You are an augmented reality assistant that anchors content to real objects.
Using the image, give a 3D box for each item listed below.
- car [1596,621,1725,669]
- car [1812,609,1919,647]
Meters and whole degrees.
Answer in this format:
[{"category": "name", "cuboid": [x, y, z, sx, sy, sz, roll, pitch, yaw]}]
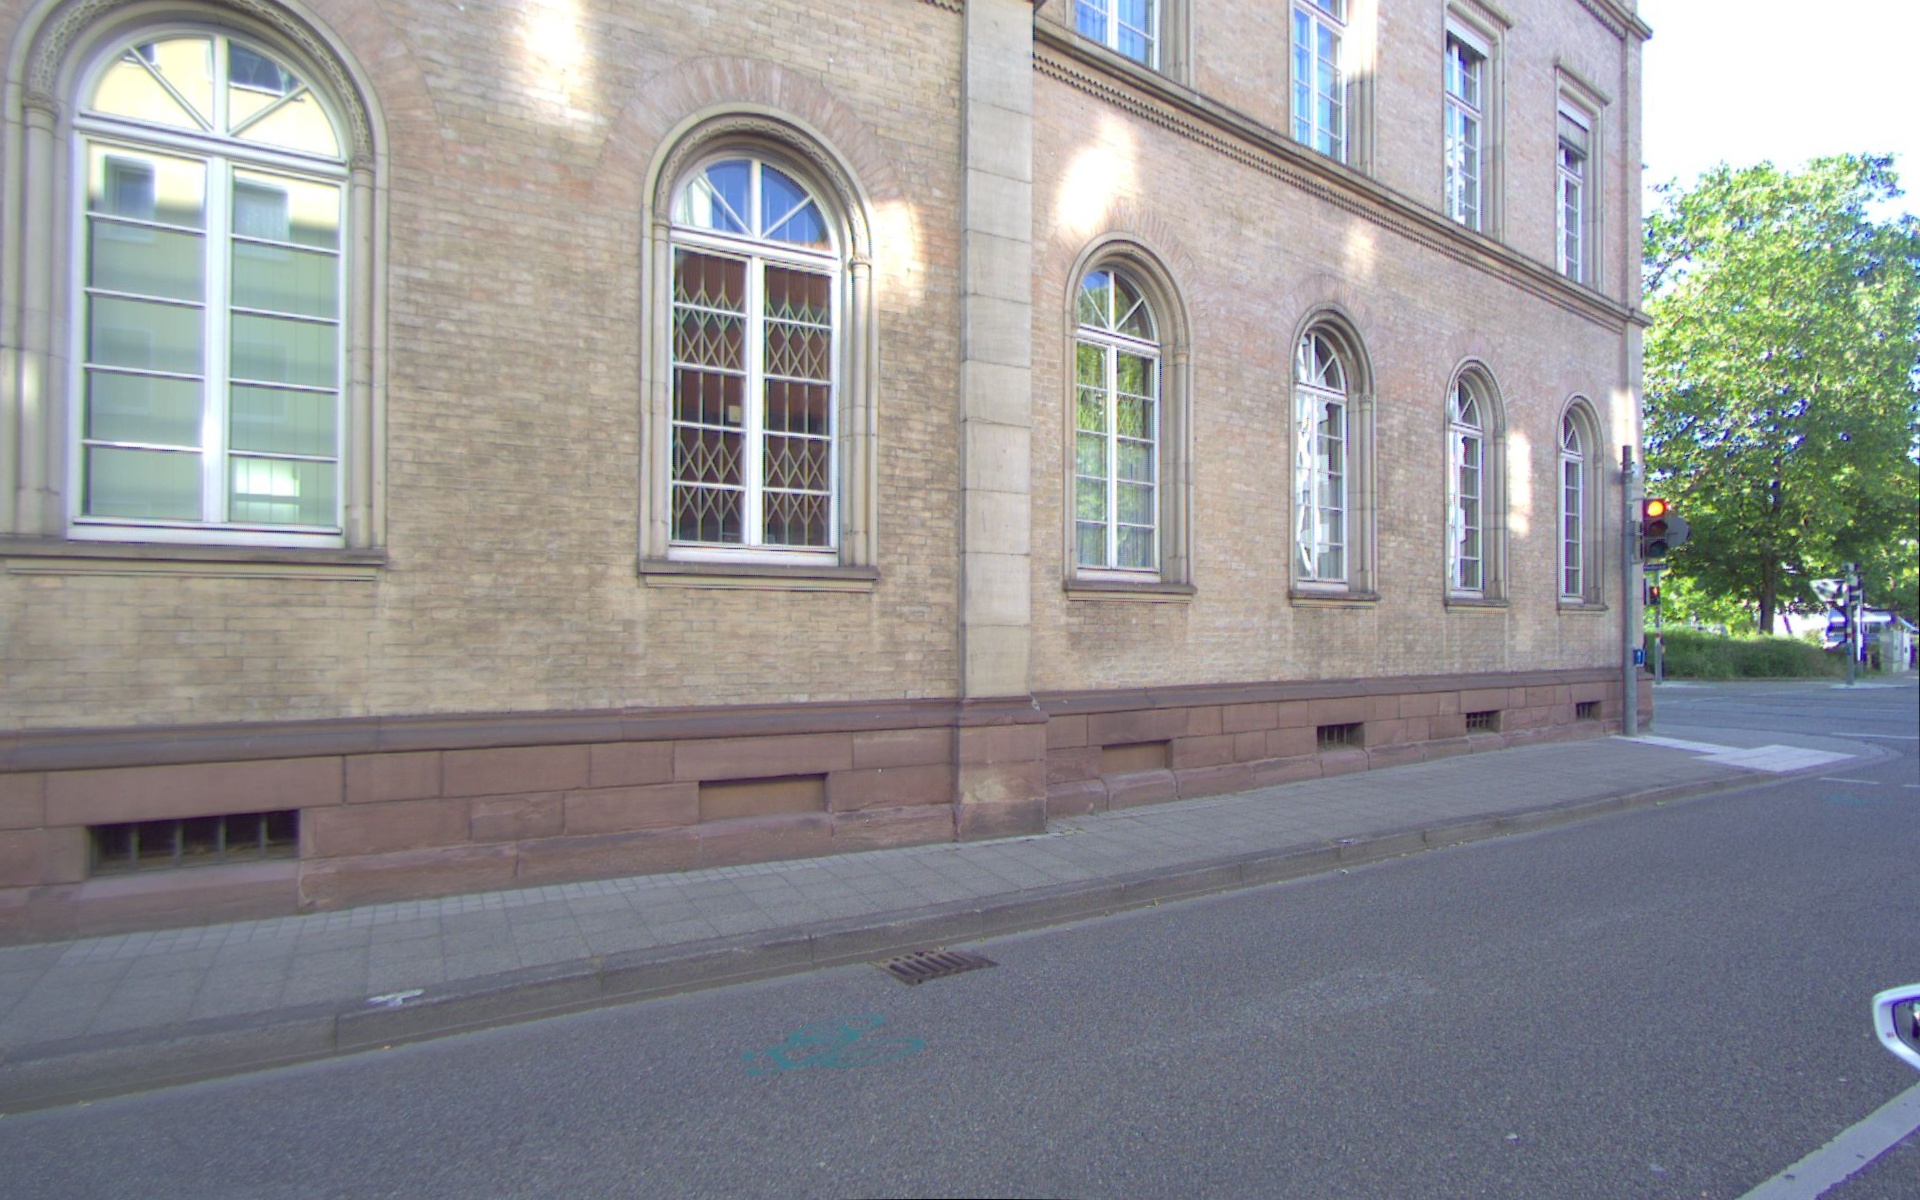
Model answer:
[{"category": "car", "cuboid": [24.374, 1.523, 35.026, 1.636, 1.476, 3.382, 2, 0, -39]}, {"category": "car", "cuboid": [53.494, 1.614, 59.388, 1.983, 2.040, 4.409, 2, 0, -38]}]
